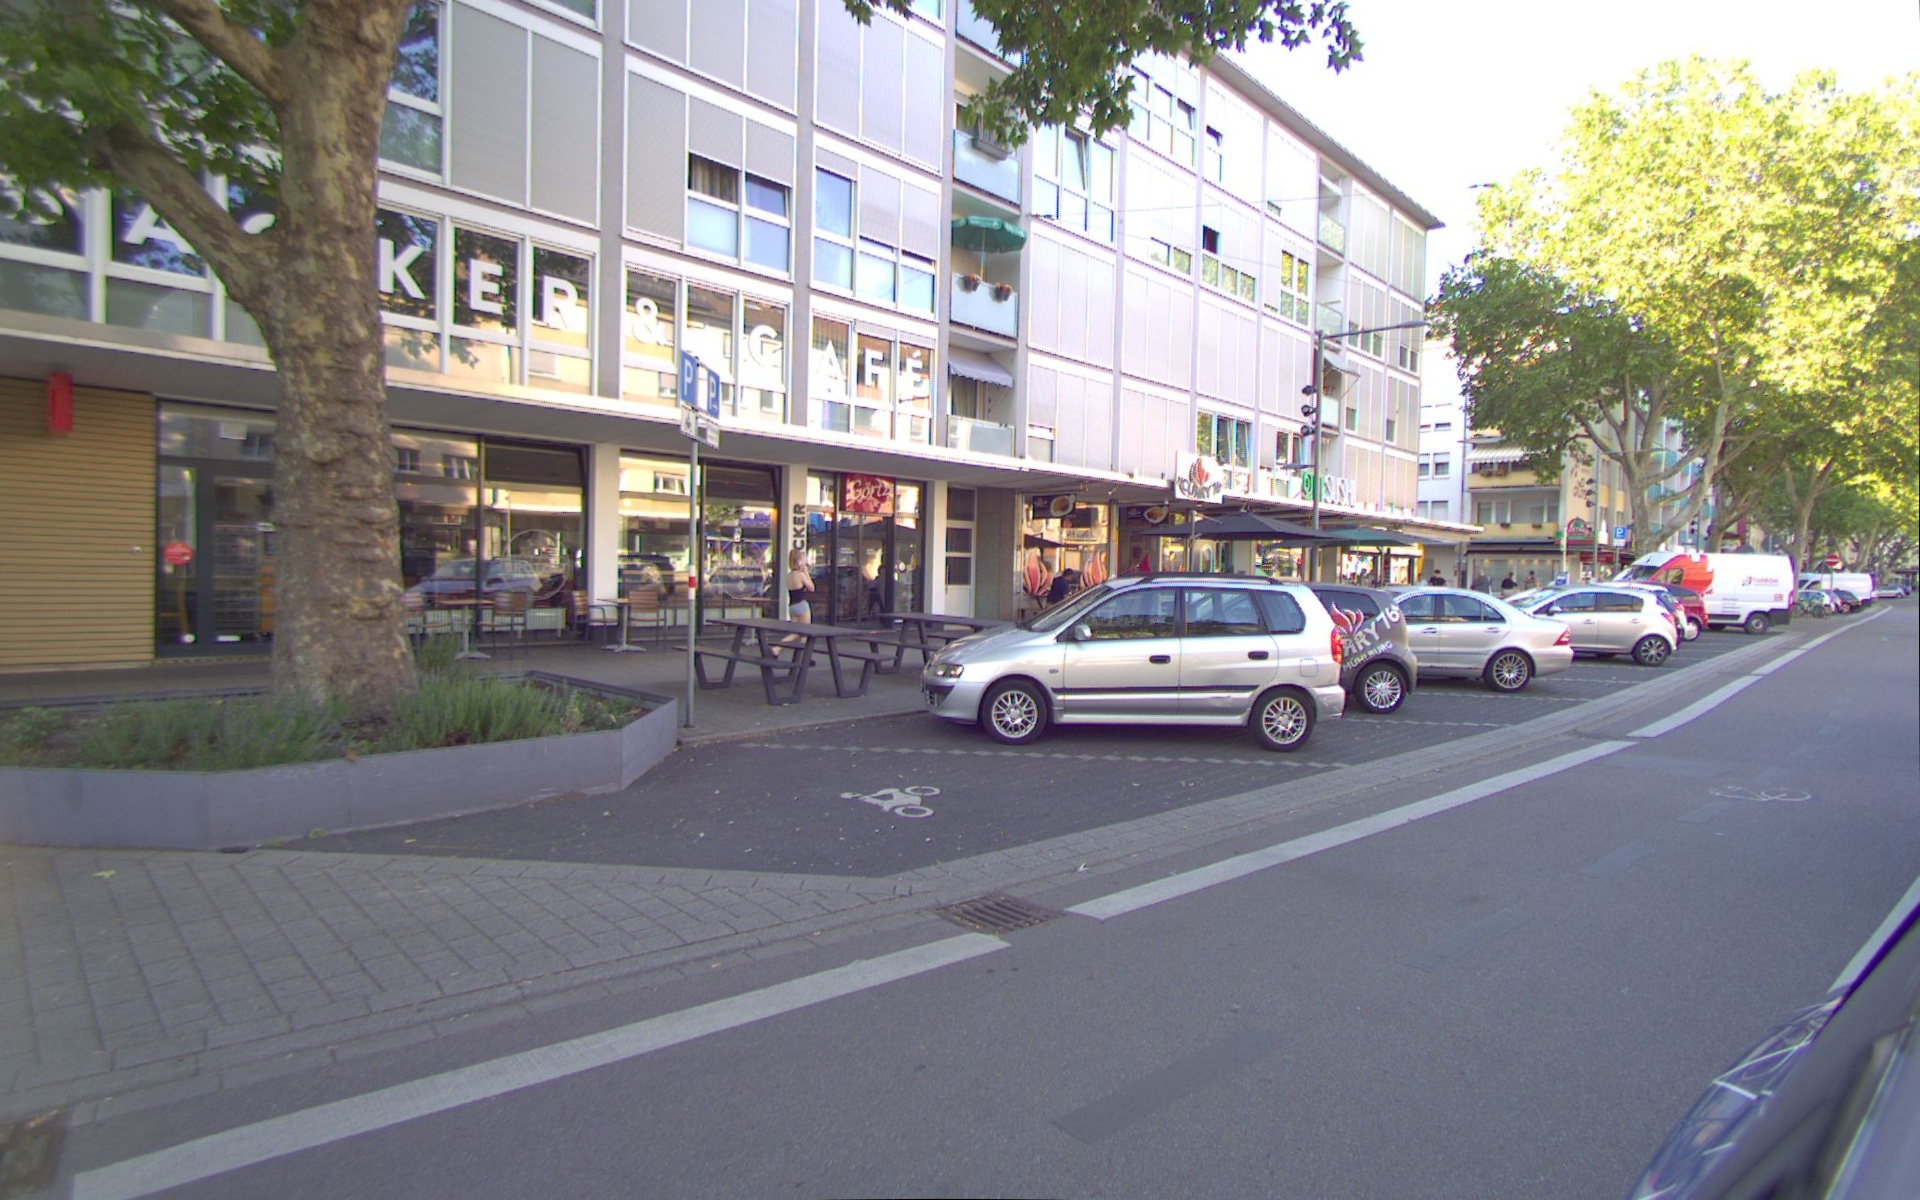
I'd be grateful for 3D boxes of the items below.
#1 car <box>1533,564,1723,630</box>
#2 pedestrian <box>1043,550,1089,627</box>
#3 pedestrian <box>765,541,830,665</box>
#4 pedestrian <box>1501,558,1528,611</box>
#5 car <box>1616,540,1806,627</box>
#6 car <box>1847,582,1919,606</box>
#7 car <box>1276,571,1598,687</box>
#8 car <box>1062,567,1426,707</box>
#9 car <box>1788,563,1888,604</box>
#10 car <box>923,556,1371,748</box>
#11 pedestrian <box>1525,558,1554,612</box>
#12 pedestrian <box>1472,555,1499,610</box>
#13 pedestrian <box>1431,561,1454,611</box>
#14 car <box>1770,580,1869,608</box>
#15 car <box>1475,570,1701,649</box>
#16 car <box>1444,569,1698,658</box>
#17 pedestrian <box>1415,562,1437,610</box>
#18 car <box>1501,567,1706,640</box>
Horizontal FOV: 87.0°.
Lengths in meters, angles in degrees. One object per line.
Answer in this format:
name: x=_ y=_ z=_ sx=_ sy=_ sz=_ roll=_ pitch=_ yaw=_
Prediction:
car: x=18.061 y=-0.126 z=27.551 sx=3.888 sy=1.445 sz=1.669 roll=4 pitch=5 yaw=17
pedestrian: x=2.242 y=-0.246 z=21.379 sx=0.757 sy=1.602 sz=0.583 roll=0 pitch=2 yaw=-39
pedestrian: x=-2.172 y=0.025 z=13.538 sx=0.559 sy=1.596 sz=0.632 roll=2 pitch=2 yaw=44
pedestrian: x=21.386 y=-0.608 z=39.015 sx=0.746 sy=2.000 sz=0.566 roll=2 pitch=2 yaw=45
car: x=23.710 y=-0.541 z=32.070 sx=4.514 sy=2.525 sz=1.675 roll=2 pitch=1 yaw=5
car: x=56.290 y=-0.368 z=61.048 sx=3.864 sy=1.350 sz=1.782 roll=1 pitch=2 yaw=3
car: x=6.854 y=0.380 z=14.829 sx=3.867 sy=1.418 sz=1.598 roll=2 pitch=3 yaw=1
car: x=3.321 y=0.402 z=12.326 sx=3.864 sy=1.446 sz=1.679 roll=2 pitch=3 yaw=-3
car: x=56.494 y=-1.083 z=65.161 sx=4.512 sy=2.499 sz=1.977 roll=1 pitch=2 yaw=3
car: x=1.635 y=0.436 z=9.792 sx=3.906 sy=1.560 sz=1.679 roll=2 pitch=3 yaw=-3
pedestrian: x=21.951 y=-0.579 z=38.339 sx=0.746 sy=2.038 sz=0.752 roll=2 pitch=2 yaw=45
pedestrian: x=19.689 y=-0.649 z=37.916 sx=0.746 sy=2.038 sz=0.550 roll=2 pitch=2 yaw=45
pedestrian: x=16.888 y=-0.505 z=35.426 sx=0.544 sy=1.741 sz=0.450 roll=2 pitch=2 yaw=45
car: x=48.043 y=-0.358 z=56.620 sx=3.864 sy=1.422 sz=1.782 roll=1 pitch=2 yaw=3
car: x=13.903 y=0.152 z=22.652 sx=3.886 sy=1.446 sz=1.670 roll=3 pitch=3 yaw=16
car: x=11.824 y=0.232 z=19.780 sx=3.871 sy=1.446 sz=1.559 roll=3 pitch=3 yaw=4
pedestrian: x=16.481 y=-0.495 z=35.802 sx=0.536 sy=1.660 sz=0.470 roll=2 pitch=2 yaw=45
car: x=15.891 y=0.042 z=25.215 sx=3.888 sy=1.445 sz=1.669 roll=4 pitch=5 yaw=17
